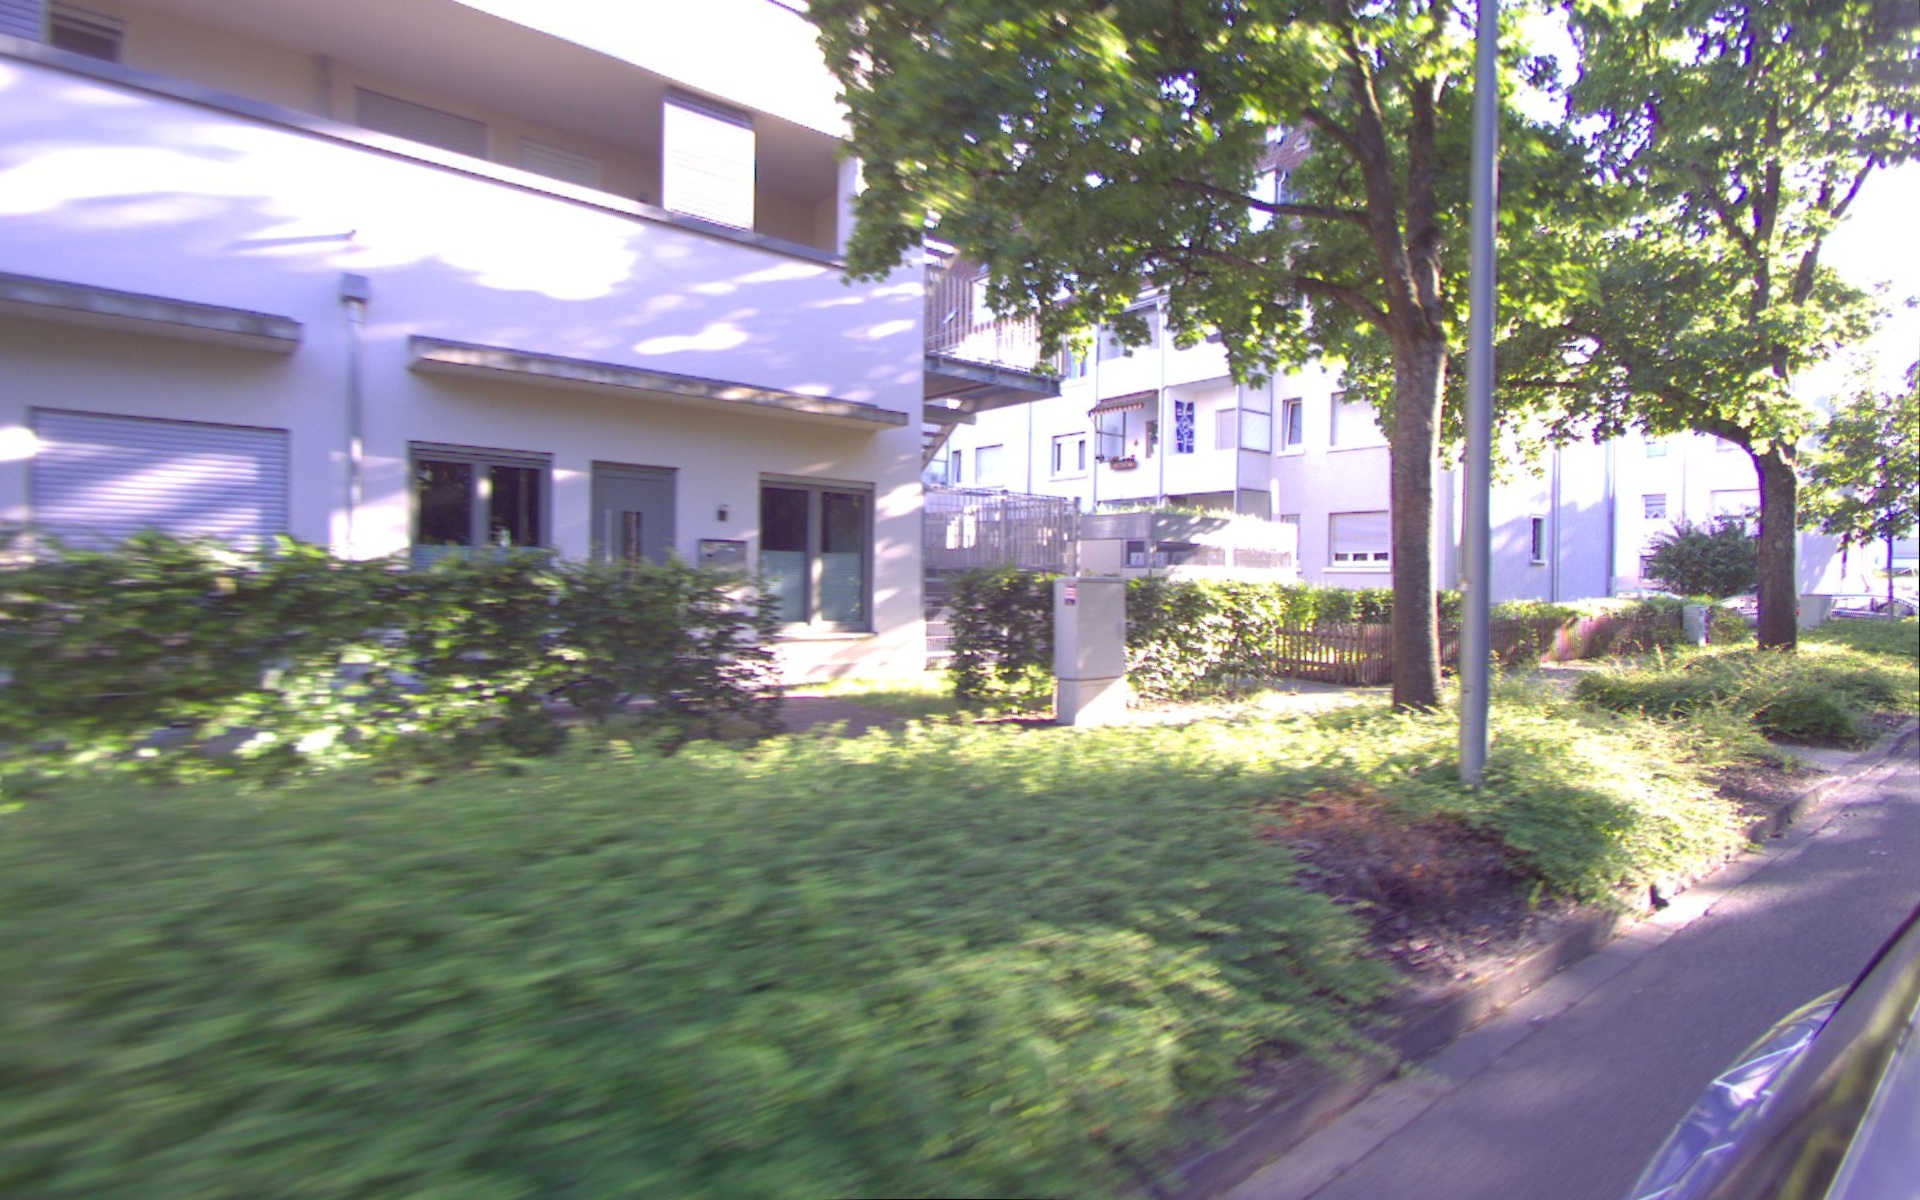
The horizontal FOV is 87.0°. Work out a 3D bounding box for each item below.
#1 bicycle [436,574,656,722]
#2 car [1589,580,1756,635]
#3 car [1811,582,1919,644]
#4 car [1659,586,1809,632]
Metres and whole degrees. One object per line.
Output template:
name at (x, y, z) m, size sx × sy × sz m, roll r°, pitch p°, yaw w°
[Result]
bicycle at (-3.666, 0.383, 9.048) m, size 1.722 × 1.206 × 0.619 m, roll 0°, pitch 0°, yaw -41°
car at (22.535, 0.208, 32.117) m, size 1.777 × 1.601 × 3.995 m, roll 2°, pitch 0°, yaw -40°
car at (27.066, 0.363, 28.598) m, size 1.735 × 1.695 × 4.279 m, roll 0°, pitch -1°, yaw -34°
car at (28.092, 0.282, 36.824) m, size 1.696 × 1.533 × 4.050 m, roll -2°, pitch 1°, yaw -39°
